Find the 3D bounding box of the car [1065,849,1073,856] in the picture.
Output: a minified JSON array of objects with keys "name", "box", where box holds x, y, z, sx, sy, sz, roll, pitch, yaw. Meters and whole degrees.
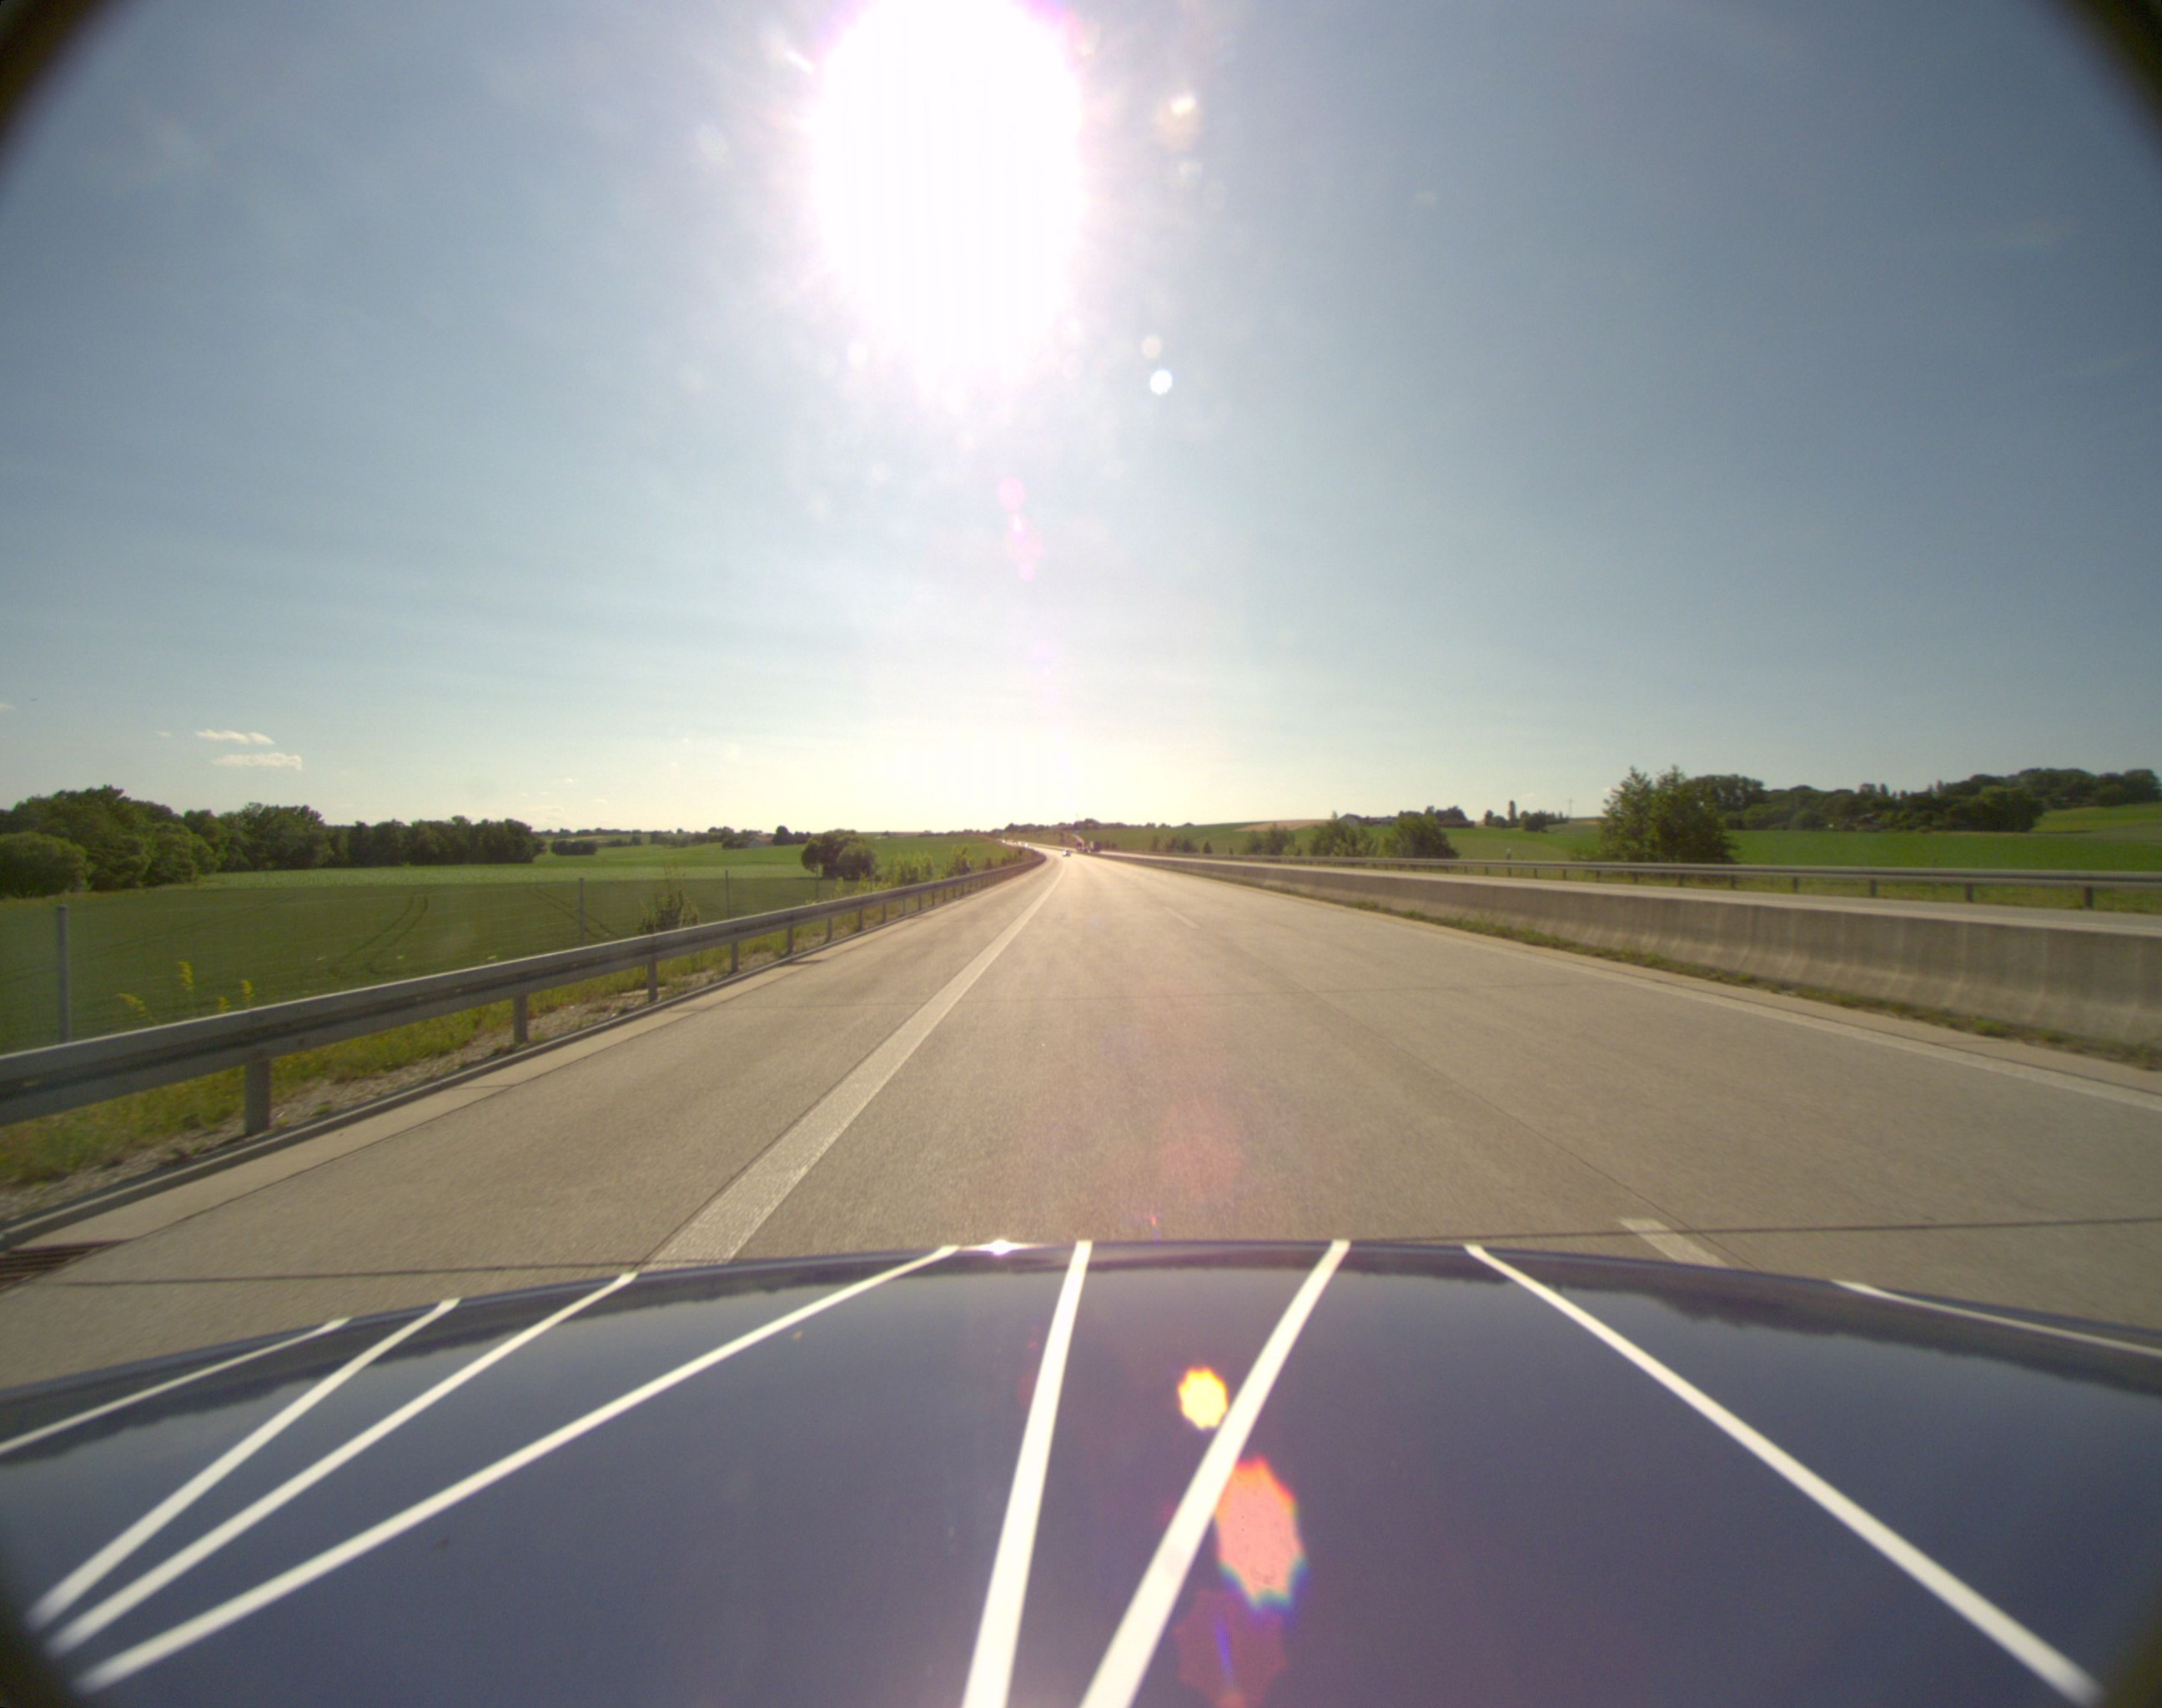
[{"name":"car","box":[-3.041,-0.469,191.394,1.715,1.580,4.625,-2,2,-1]}]
